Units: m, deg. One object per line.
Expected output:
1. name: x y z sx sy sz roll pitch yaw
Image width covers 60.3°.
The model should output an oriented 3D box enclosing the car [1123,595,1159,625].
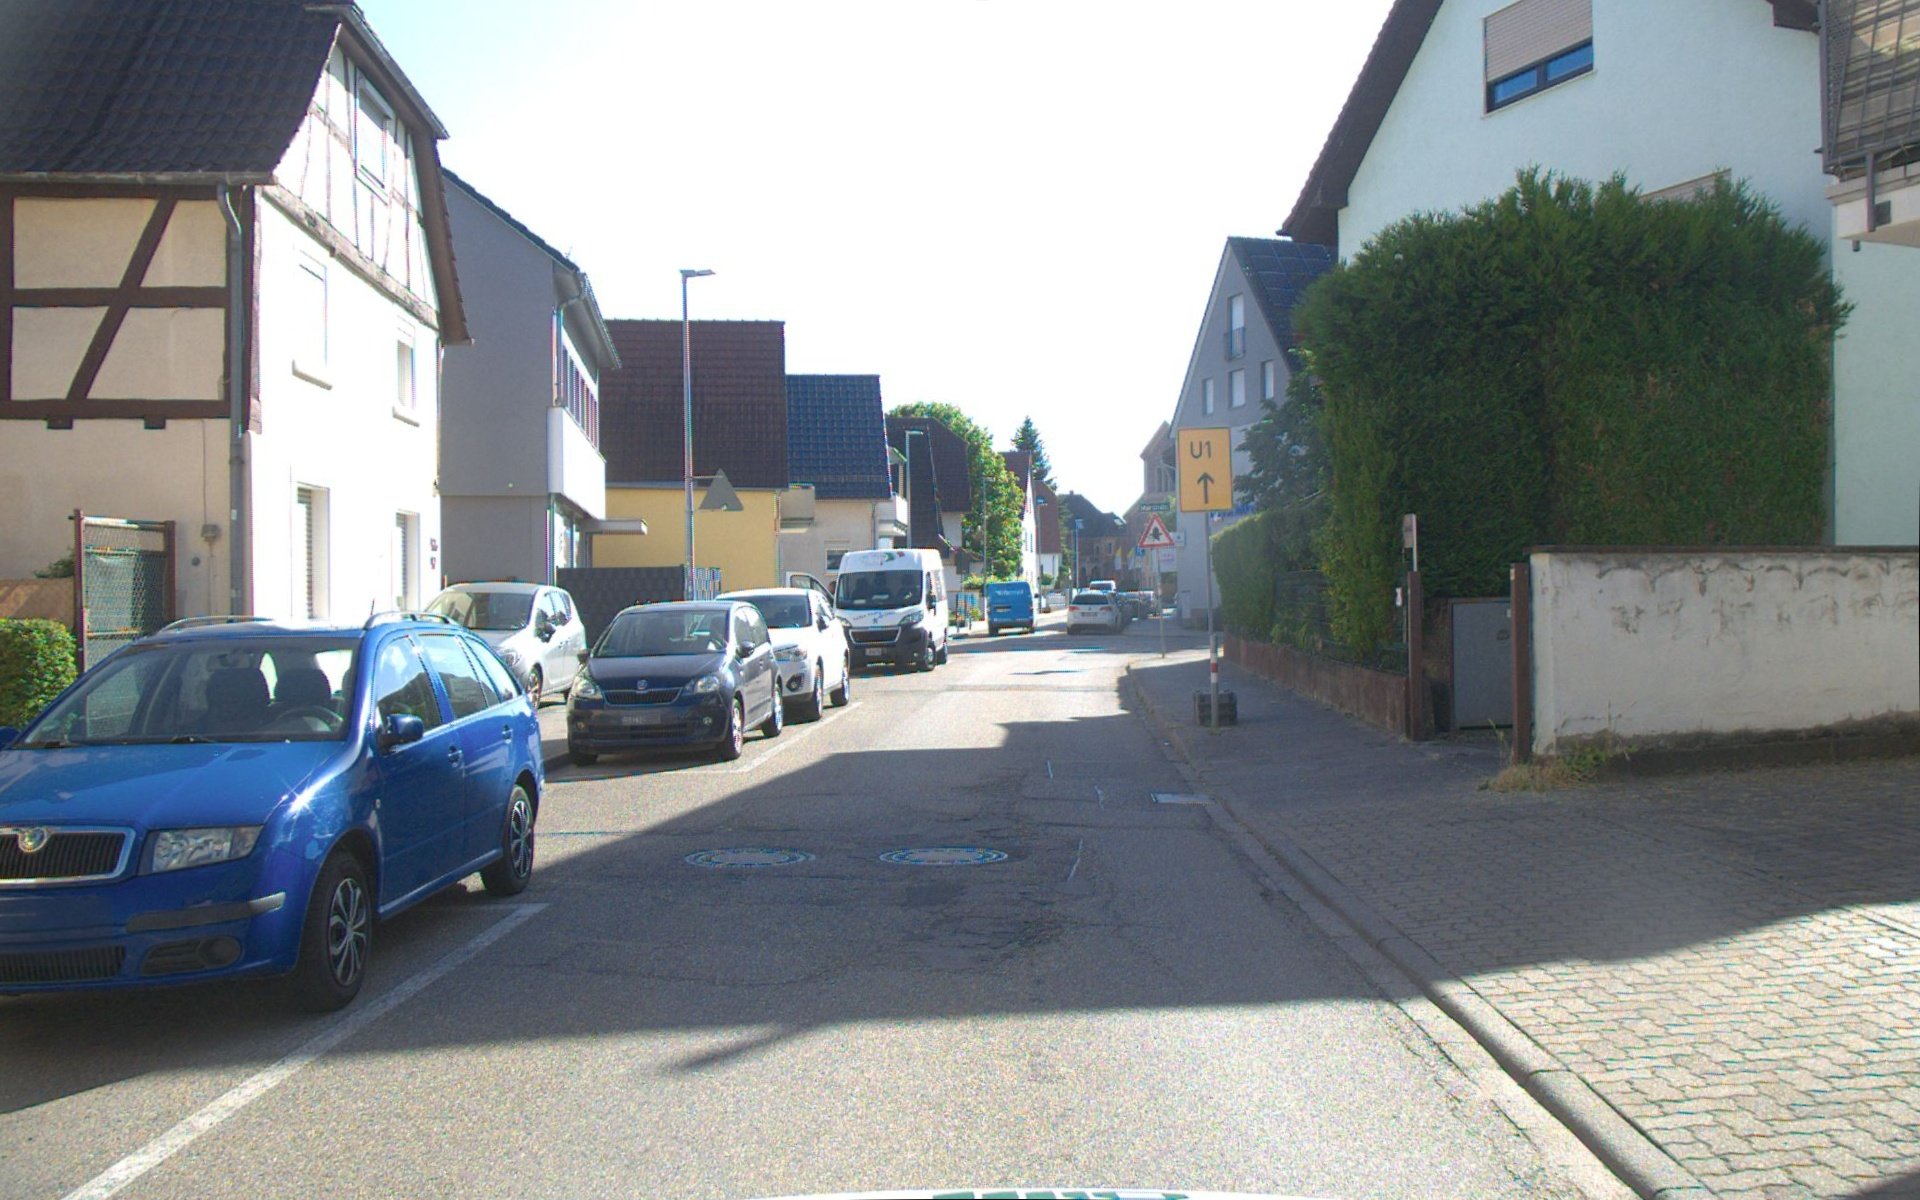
1. car: 10.609 0.585 96.704 1.889 1.598 4.003 1 -2 9

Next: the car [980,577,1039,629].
1. car: 1.821 0.074 62.488 1.882 1.833 4.778 -2 1 -2

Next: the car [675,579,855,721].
1. car: -2.410 0.575 21.341 1.638 1.599 3.967 -2 0 3

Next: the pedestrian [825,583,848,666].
1. pedestrian: -2.504 0.502 33.549 0.350 1.654 0.570 -1 -2 5

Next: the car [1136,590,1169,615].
1. car: 12.344 0.170 105.918 1.805 1.437 4.003 1 -2 10

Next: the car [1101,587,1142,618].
1. car: 8.466 0.144 86.285 1.805 1.437 4.003 1 -2 10

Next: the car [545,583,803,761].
1. car: -2.776 0.651 16.981 1.668 1.545 4.123 -2 0 3

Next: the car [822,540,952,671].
1. car: -1.418 0.098 34.426 2.033 2.436 5.211 -2 0 4

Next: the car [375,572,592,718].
1. car: -5.913 0.495 20.983 1.687 1.624 4.015 2 1 -2

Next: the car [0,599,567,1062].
1. car: -3.014 0.757 7.360 1.605 1.466 4.074 -1 0 -1

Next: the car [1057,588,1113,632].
1. car: 4.454 0.382 59.378 1.806 1.437 4.000 2 -2 2
